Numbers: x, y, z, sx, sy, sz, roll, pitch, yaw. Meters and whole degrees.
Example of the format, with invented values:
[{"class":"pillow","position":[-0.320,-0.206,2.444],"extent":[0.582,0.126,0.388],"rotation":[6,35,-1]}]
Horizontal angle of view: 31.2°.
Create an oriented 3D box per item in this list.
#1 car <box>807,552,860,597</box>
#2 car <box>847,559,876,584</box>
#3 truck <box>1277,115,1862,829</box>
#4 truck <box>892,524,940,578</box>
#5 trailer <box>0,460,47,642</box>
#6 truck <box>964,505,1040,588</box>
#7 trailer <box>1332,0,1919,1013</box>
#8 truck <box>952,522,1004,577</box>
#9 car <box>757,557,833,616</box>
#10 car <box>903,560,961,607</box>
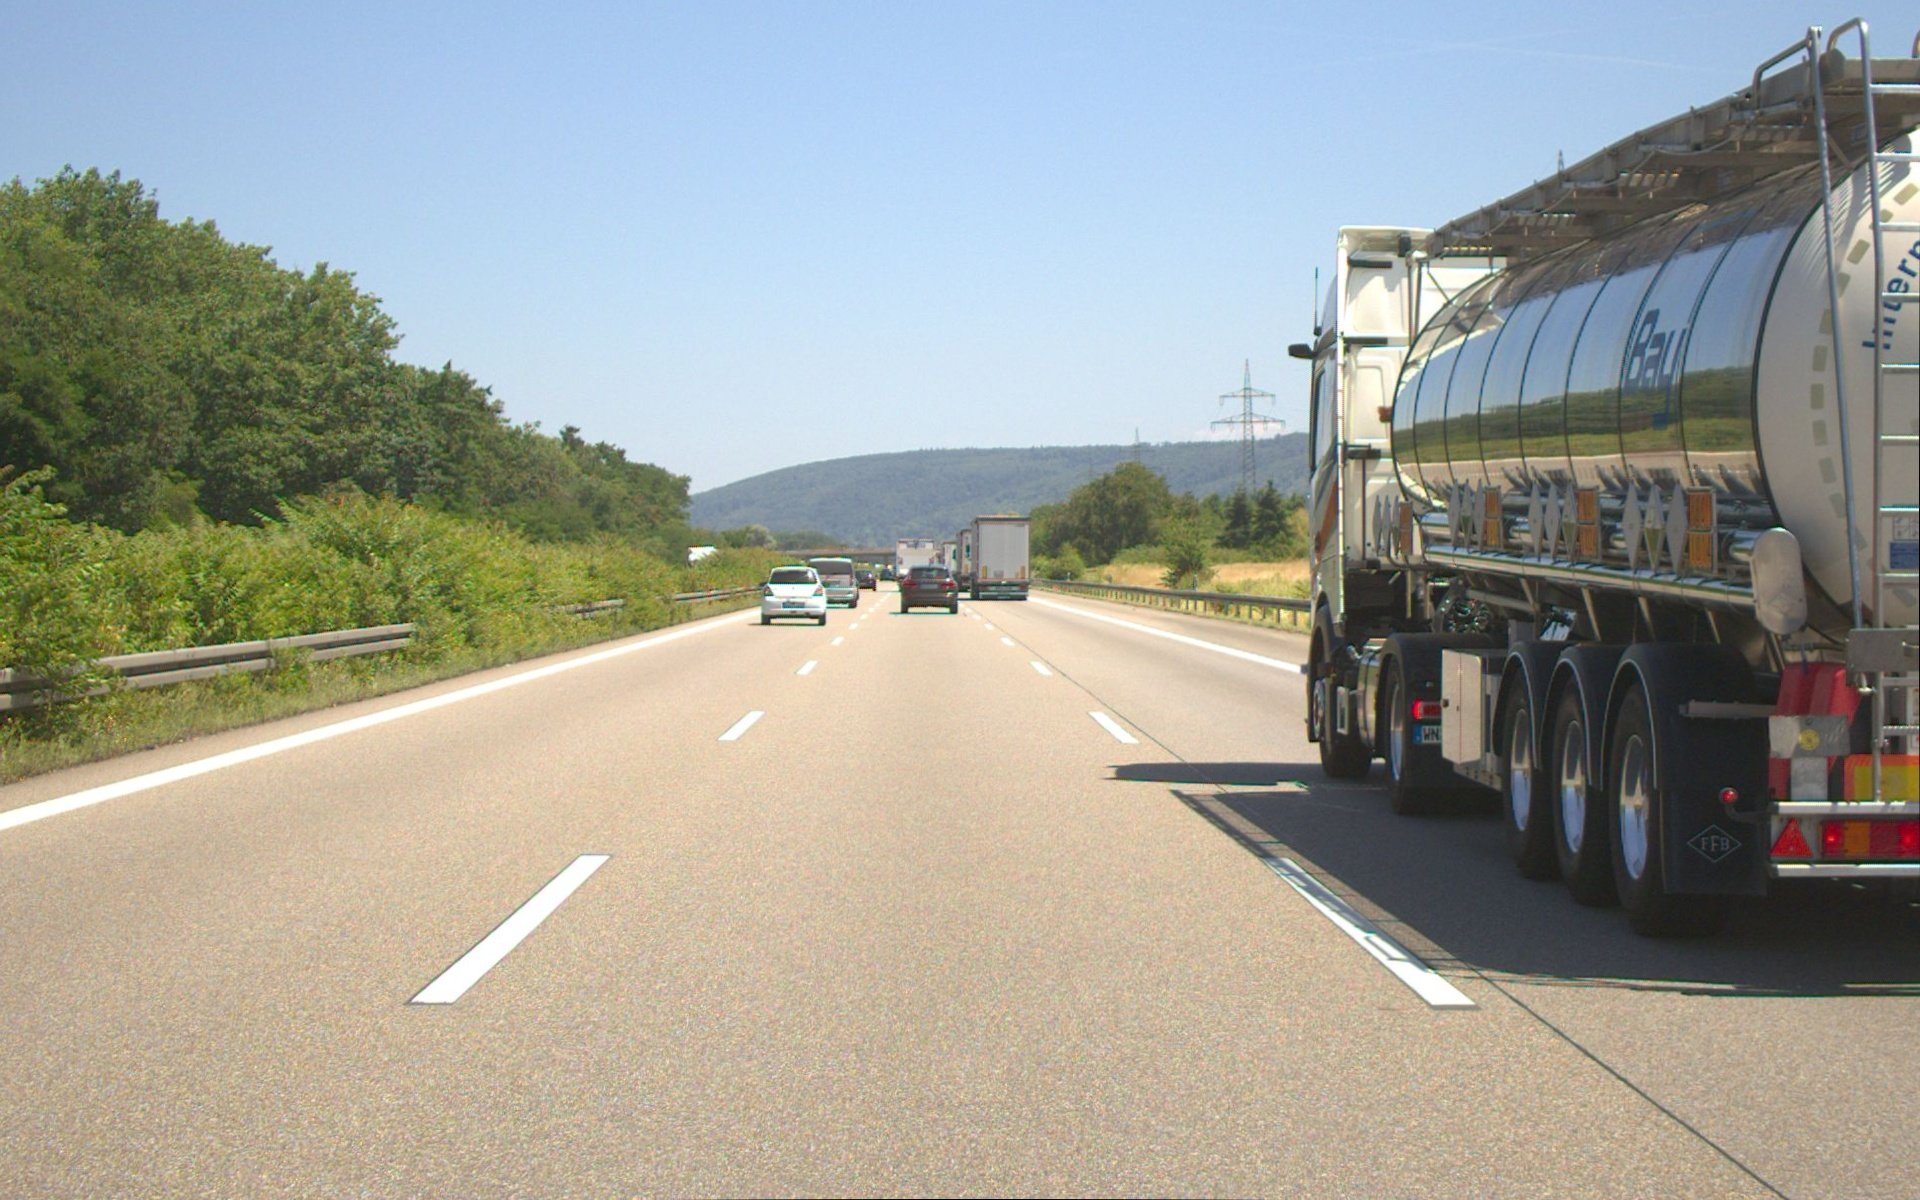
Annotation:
[{"class":"car","position":[-4.753,-0.979,129.731],"extent":[1.852,1.627,4.000],"rotation":[1,1,-1]},{"class":"car","position":[-6.618,-1.930,231.794],"extent":[1.852,1.627,4.000],"rotation":[1,1,-1]},{"class":"truck","position":[3.804,-0.784,22.988],"extent":[2.573,4.058,6.393],"rotation":[1,1,-1]},{"class":"truck","position":[-2.990,-3.317,231.372],"extent":[3.097,3.463,11.543],"rotation":[1,1,-1]},{"class":"trailer","position":[-20.811,-0.957,66.260],"extent":[2.591,3.693,13.688],"rotation":[1,1,1]},{"class":"truck","position":[2.007,-2.623,168.537],"extent":[3.265,3.844,11.632],"rotation":[1,1,-1]},{"class":"trailer","position":[3.911,-0.692,17.293],"extent":[2.580,4.060,11.104],"rotation":[1,1,-1]},{"class":"truck","position":[1.122,-3.344,226.751],"extent":[3.097,3.463,11.543],"rotation":[1,1,-1]},{"class":"car","position":[-4.323,-0.360,90.307],"extent":[1.806,1.463,4.000],"rotation":[1,1,-1]},{"class":"car","position":[-0.927,-0.565,115.096],"extent":[1.885,1.510,4.000],"rotation":[1,1,-1]}]
